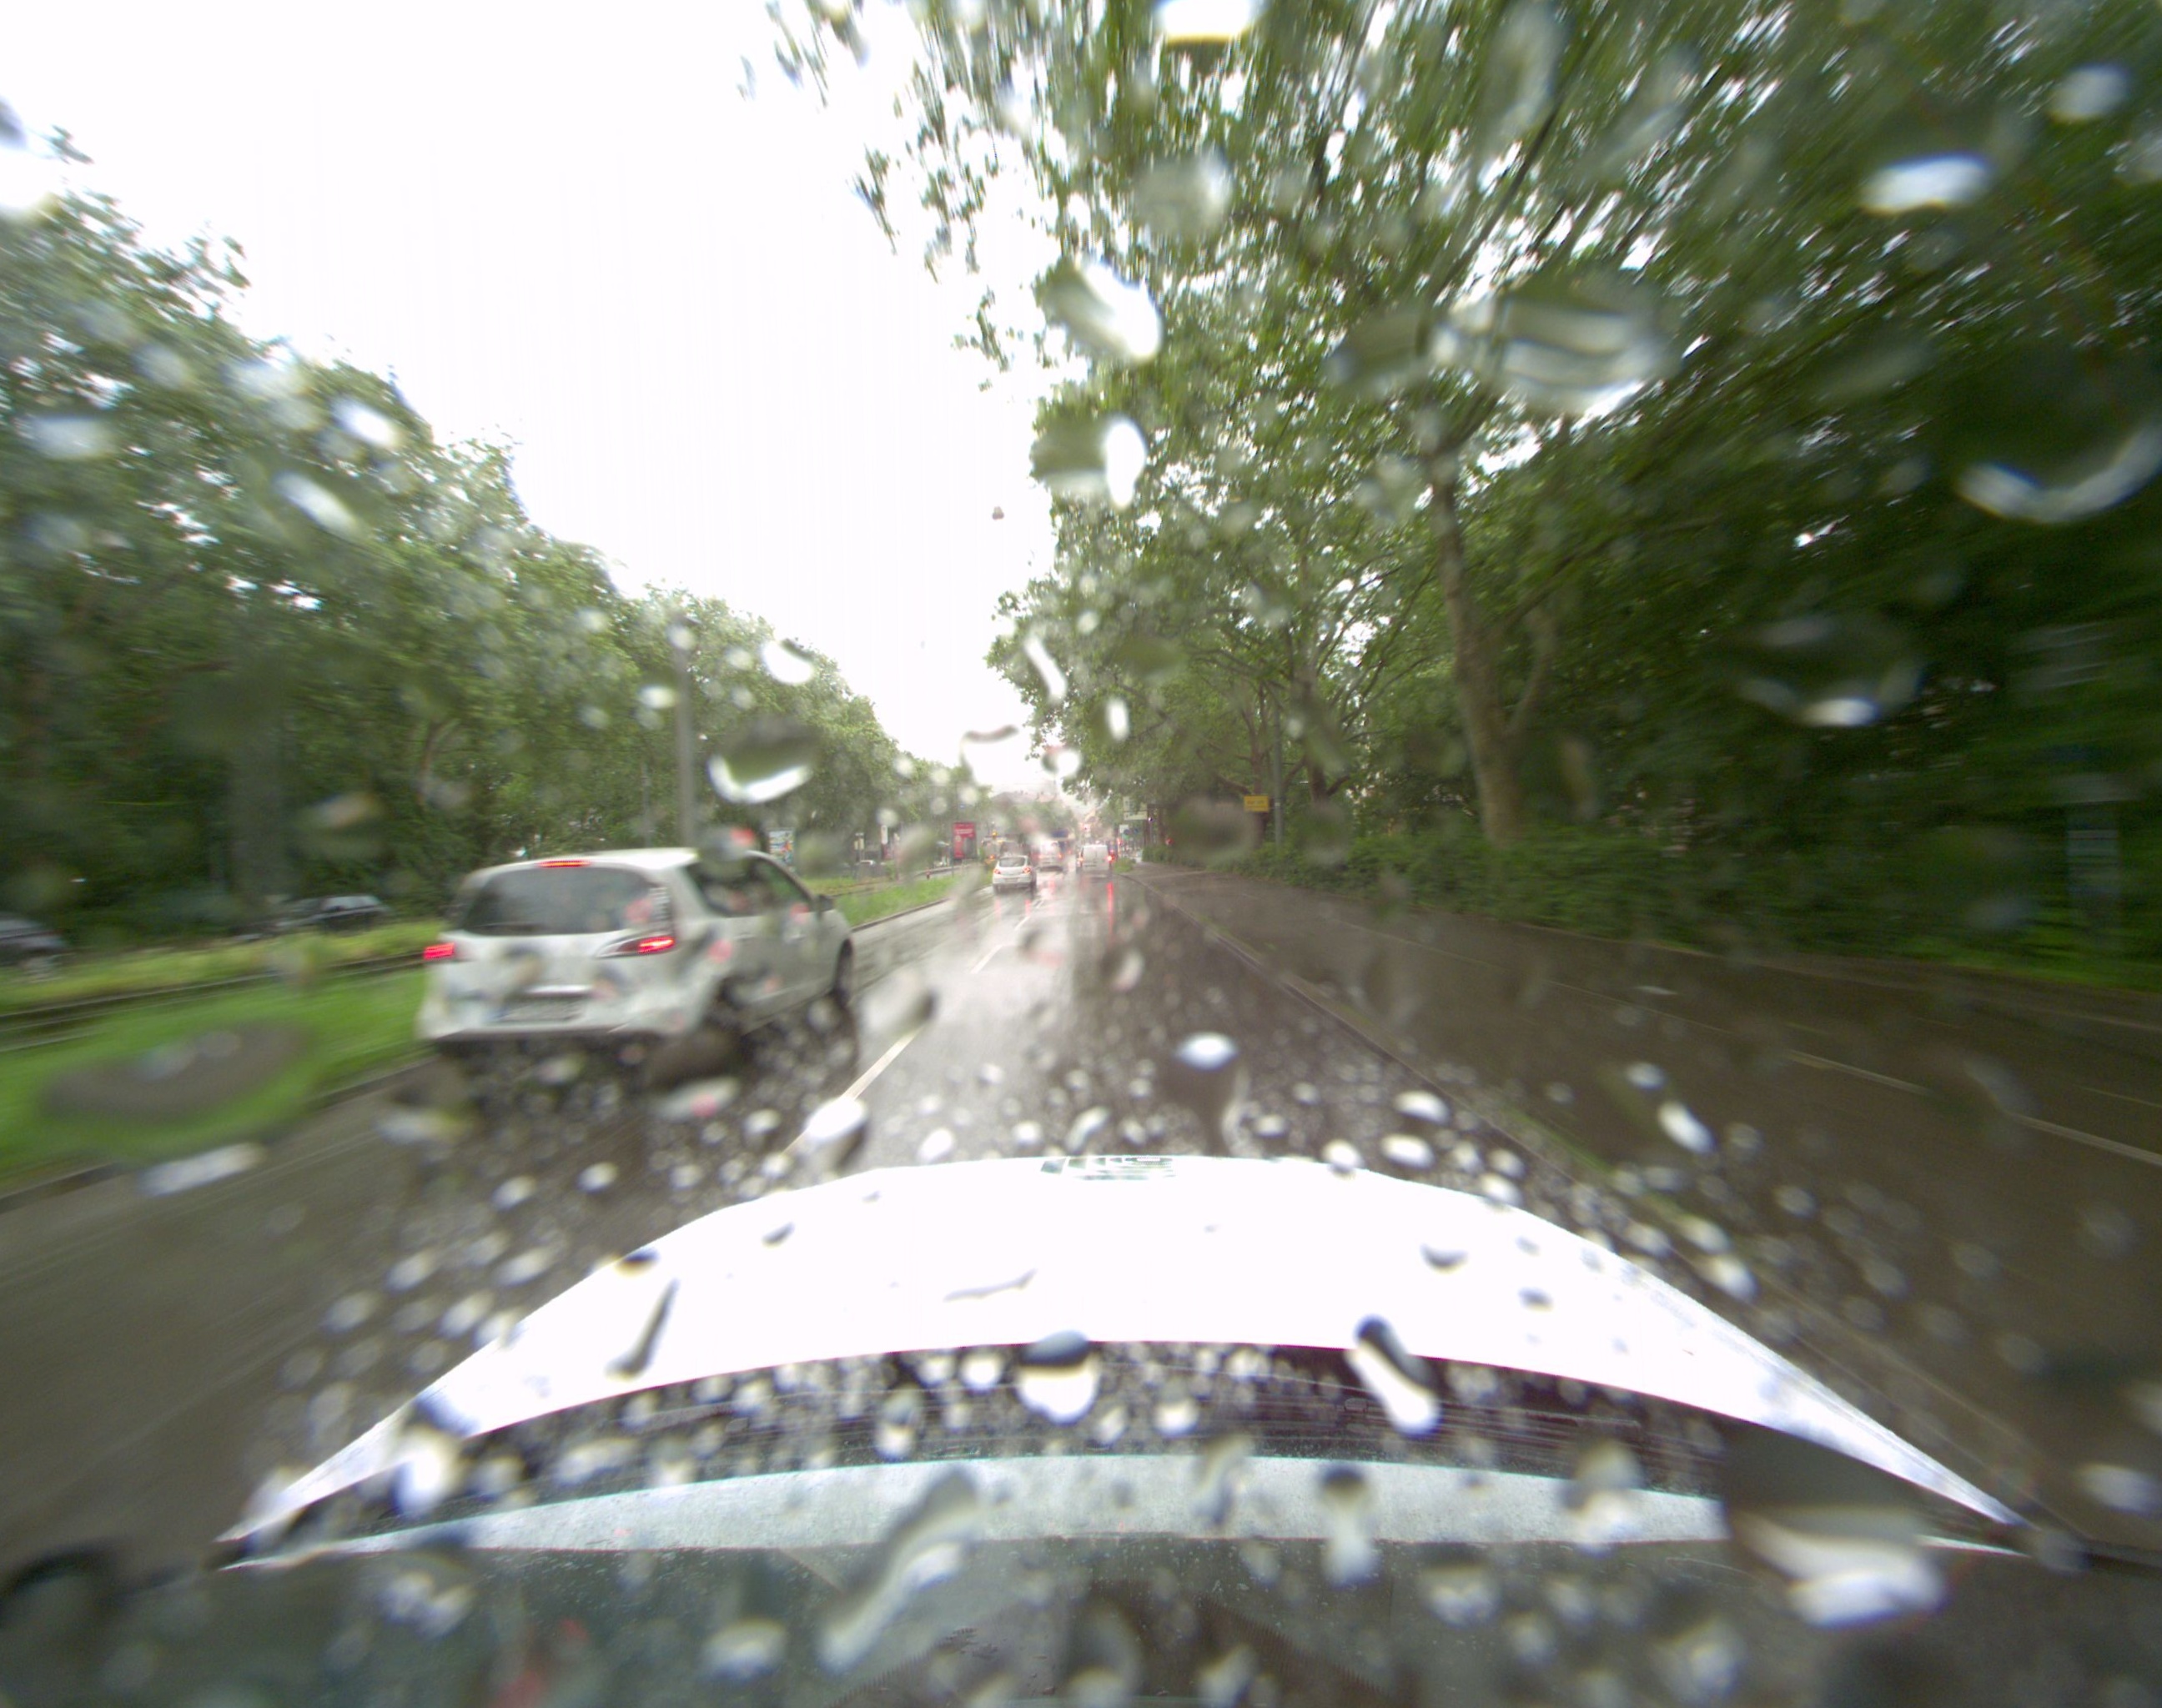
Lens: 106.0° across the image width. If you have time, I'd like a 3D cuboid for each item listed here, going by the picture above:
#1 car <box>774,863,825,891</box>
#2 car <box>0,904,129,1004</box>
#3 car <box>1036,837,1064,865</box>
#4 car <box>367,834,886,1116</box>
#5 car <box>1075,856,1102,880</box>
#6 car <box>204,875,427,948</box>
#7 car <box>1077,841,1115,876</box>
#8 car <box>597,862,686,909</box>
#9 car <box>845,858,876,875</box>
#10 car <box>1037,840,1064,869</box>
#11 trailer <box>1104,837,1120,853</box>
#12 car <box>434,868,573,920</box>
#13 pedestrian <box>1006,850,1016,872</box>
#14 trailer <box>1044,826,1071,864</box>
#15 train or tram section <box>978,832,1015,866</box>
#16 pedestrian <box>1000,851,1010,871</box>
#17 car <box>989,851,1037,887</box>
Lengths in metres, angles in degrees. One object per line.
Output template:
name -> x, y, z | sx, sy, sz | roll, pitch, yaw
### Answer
car -> -19.026, 1.502, 55.237 | 2.027, 1.657, 4.272 | -4, 0, -3
car -> -21.434, 2.024, 15.093 | 2.026, 1.751, 4.690 | -4, 0, -2
car -> -2.887, -0.238, 78.194 | 2.322, 2.557, 6.113 | -2, -1, 0
car -> -3.219, 0.720, 6.963 | 1.857, 1.623, 4.265 | -2, 0, 2
car -> 0.589, 1.026, 60.057 | 1.901, 1.618, 4.001 | -2, -1, 2
car -> -21.526, 1.536, 23.241 | 2.026, 1.657, 4.606 | -2, 0, -2
car -> 0.774, 0.235, 44.446 | 1.953, 1.777, 3.569 | -2, -1, 0
car -> -22.176, 1.514, 41.344 | 2.028, 2.092, 4.797 | -4, 0, -4
car -> -21.977, 1.215, 81.371 | 1.928, 1.517, 4.000 | -3, 0, 0
car -> -2.541, 0.058, 69.705 | 1.987, 2.262, 5.288 | -2, -1, 0
trailer -> 4.737, -1.376, 125.215 | 1.988, 2.317, 4.665 | -2, -1, -2
car -> -21.559, 1.432, 30.689 | 2.026, 1.657, 4.606 | -2, 0, -2
pedestrian -> -5.668, 0.571, 65.820 | 0.788, 1.714, 0.770 | 0, -1, -1
trailer -> -2.467, -0.964, 87.357 | 2.583, 3.899, 7.632 | -2, 0, -1
train or tram section -> -8.801, -0.566, 85.925 | 2.953, 3.285, 8.357 | -4, 1, -1
pedestrian -> -6.704, 0.606, 71.591 | 0.713, 1.744, 0.750 | -2, 0, -1
car -> -2.927, 0.642, 35.758 | 1.720, 1.479, 3.805 | -2, -1, 0
